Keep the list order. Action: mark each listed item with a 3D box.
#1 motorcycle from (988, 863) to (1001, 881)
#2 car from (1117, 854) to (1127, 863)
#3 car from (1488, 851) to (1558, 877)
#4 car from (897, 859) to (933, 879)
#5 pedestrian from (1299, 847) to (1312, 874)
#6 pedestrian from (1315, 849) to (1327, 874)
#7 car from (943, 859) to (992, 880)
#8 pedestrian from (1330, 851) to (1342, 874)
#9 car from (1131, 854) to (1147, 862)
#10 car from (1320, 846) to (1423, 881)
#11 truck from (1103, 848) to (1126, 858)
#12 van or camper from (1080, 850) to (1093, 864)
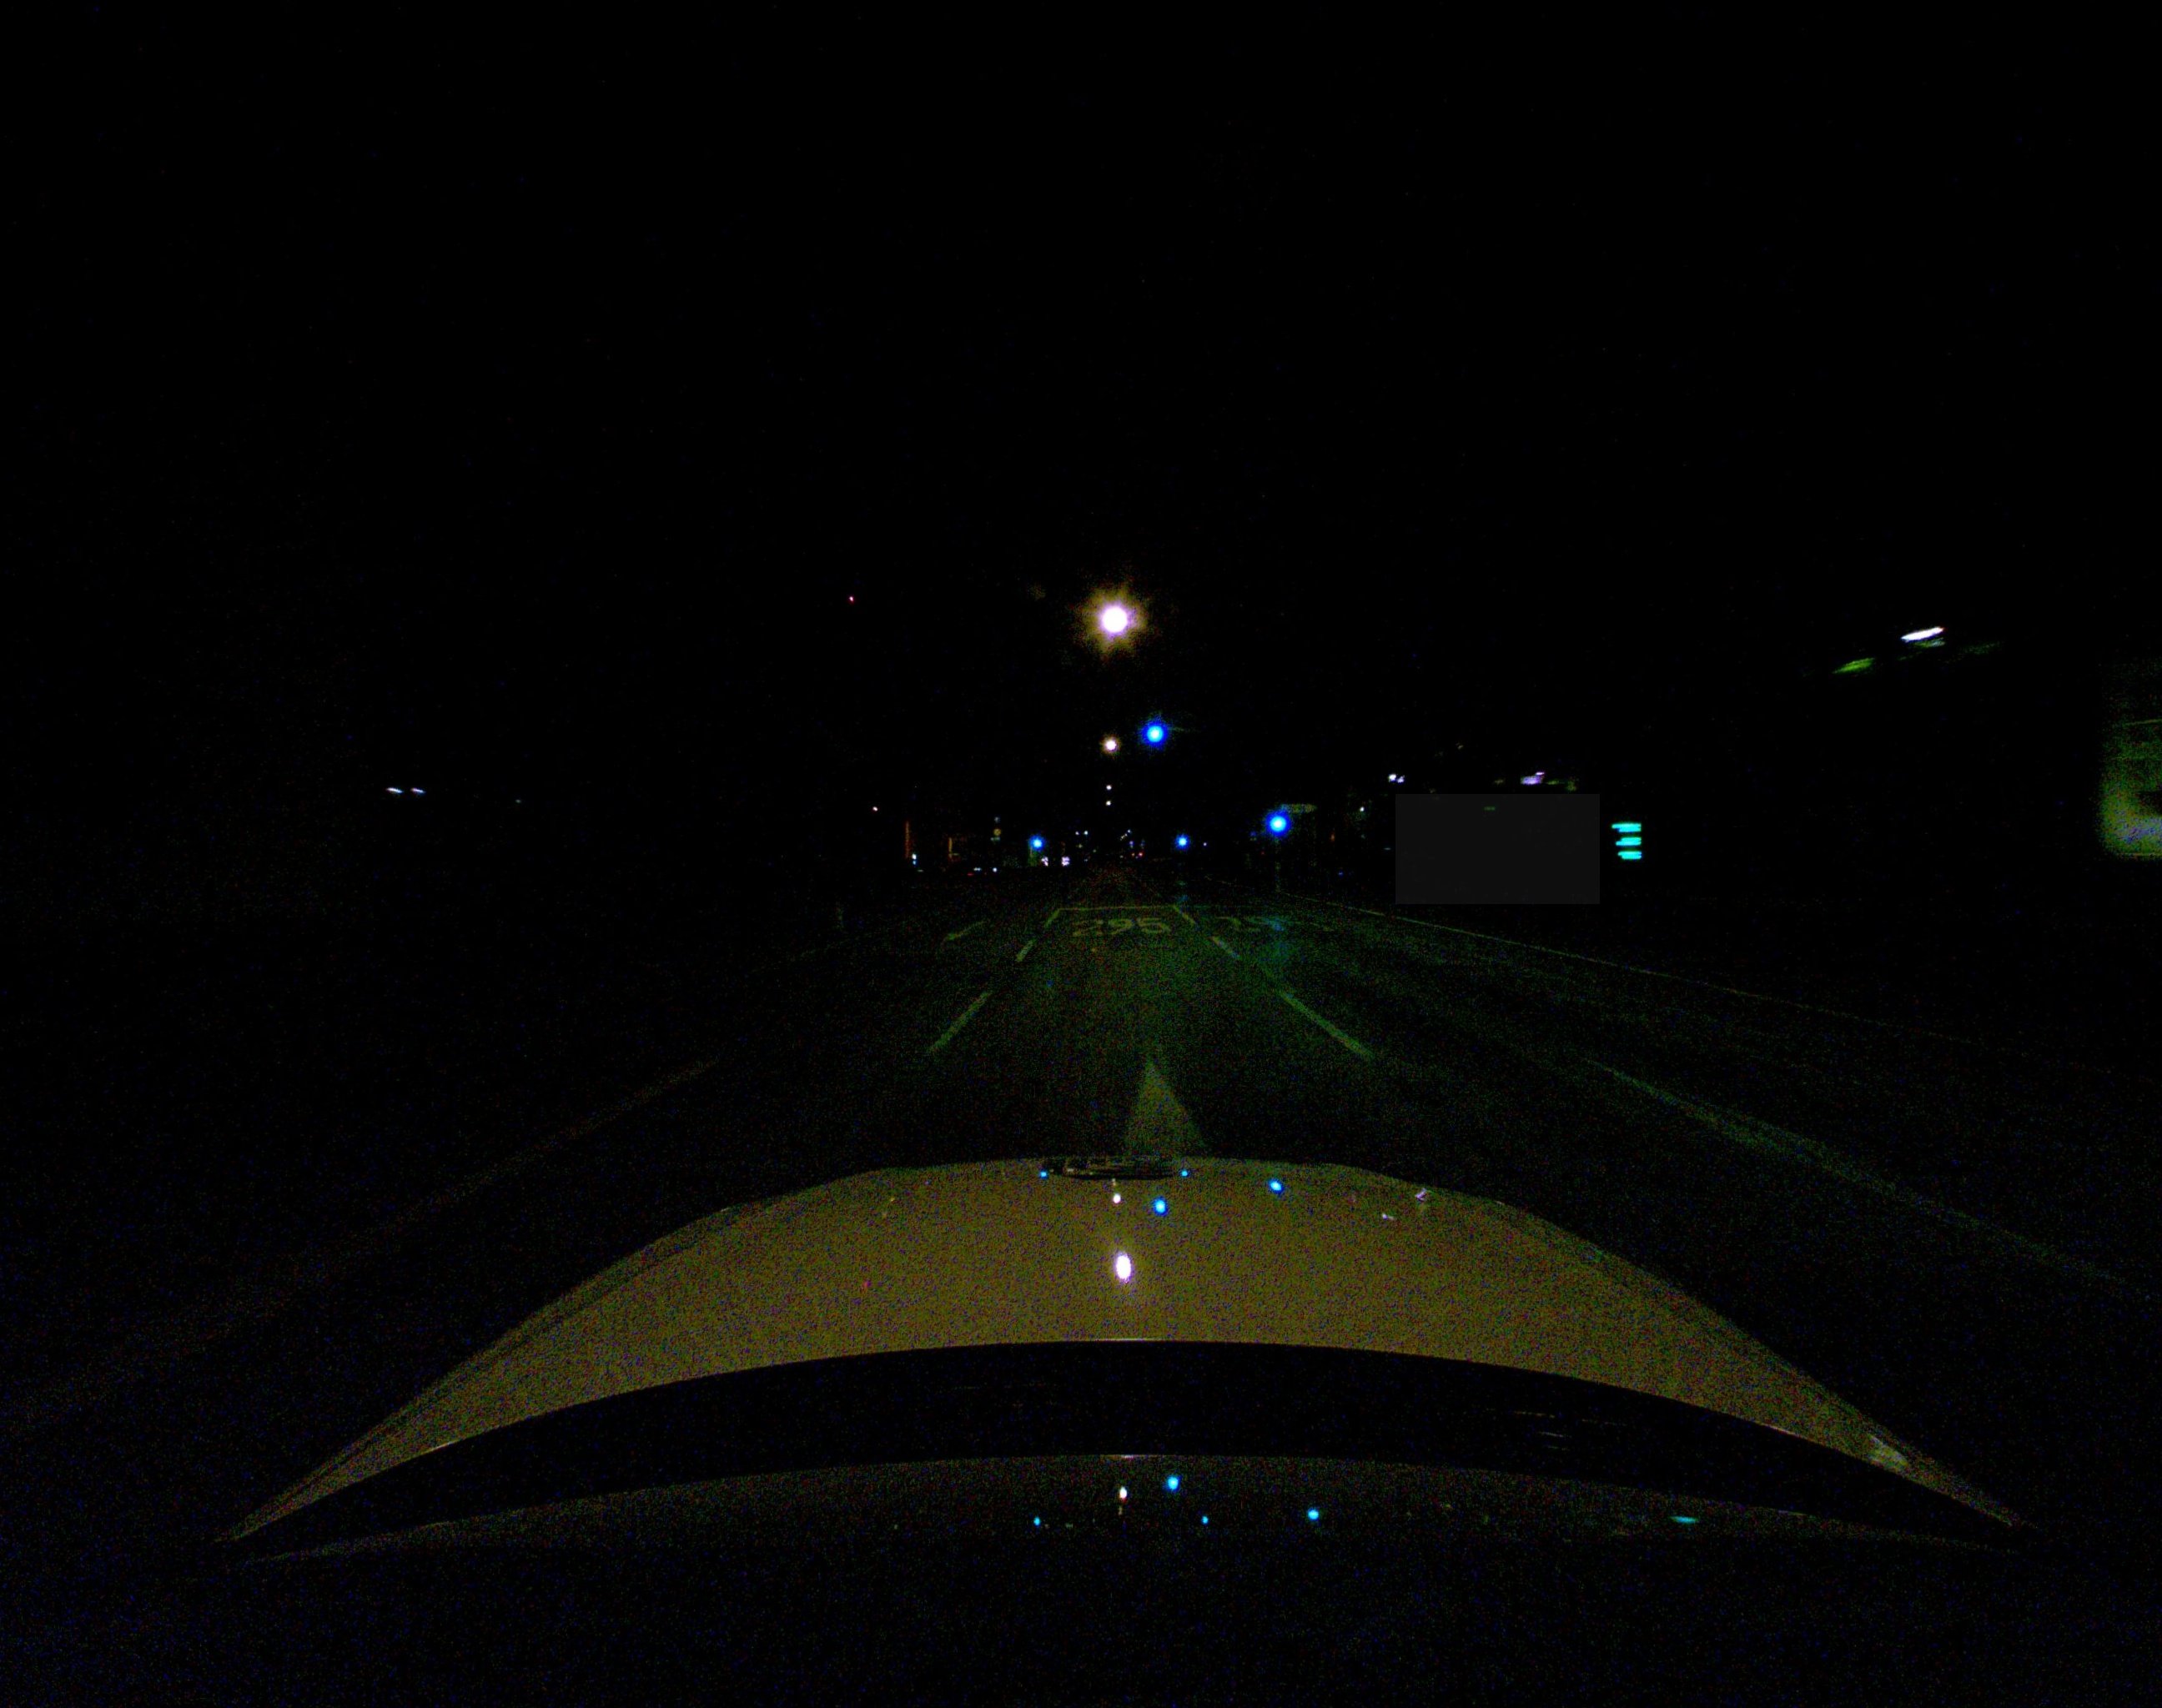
[{"bbox_3d":[-5.971,1.213,56.134,0.573,1.180,2.021,-1,0,-15],"label":"motorcycle"},{"bbox_3d":[8.275,0.923,164.633,1.876,1.603,4.111,-3,-1,4],"label":"car"},{"bbox_3d":[20.947,0.492,38.752,1.452,1.168,3.540,-1,-1,1],"label":"car"},{"bbox_3d":[-13.979,1.261,68.325,1.924,1.644,4.075,2,-2,-26],"label":"car"},{"bbox_3d":[15.246,0.409,55.353,0.619,1.811,0.759,-1,-1,2],"label":"pedestrian"},{"bbox_3d":[16.153,0.515,54.884,0.619,1.639,0.679,-1,-1,2],"label":"pedestrian"},{"bbox_3d":[-8.346,1.118,59.430,1.898,1.424,4.684,-2,0,-29],"label":"car"},{"bbox_3d":[17.003,0.556,54.303,0.570,1.533,0.634,-1,-1,2],"label":"pedestrian"},{"bbox_3d":[11.000,0.785,154.473,1.648,1.342,3.647,-2,-1,27],"label":"car"},{"bbox_3d":[13.190,0.444,37.146,4.067,1.454,1.787,-2,-1,1],"label":"car"},{"bbox_3d":[9.843,-0.278,242.294,6.757,2.844,1.999,-1,0,-2],"label":"truck"},{"bbox_3d":[1.001,0.642,154.439,2.150,2.535,6.228,-4,-1,1],"label":"van or camper"}]
